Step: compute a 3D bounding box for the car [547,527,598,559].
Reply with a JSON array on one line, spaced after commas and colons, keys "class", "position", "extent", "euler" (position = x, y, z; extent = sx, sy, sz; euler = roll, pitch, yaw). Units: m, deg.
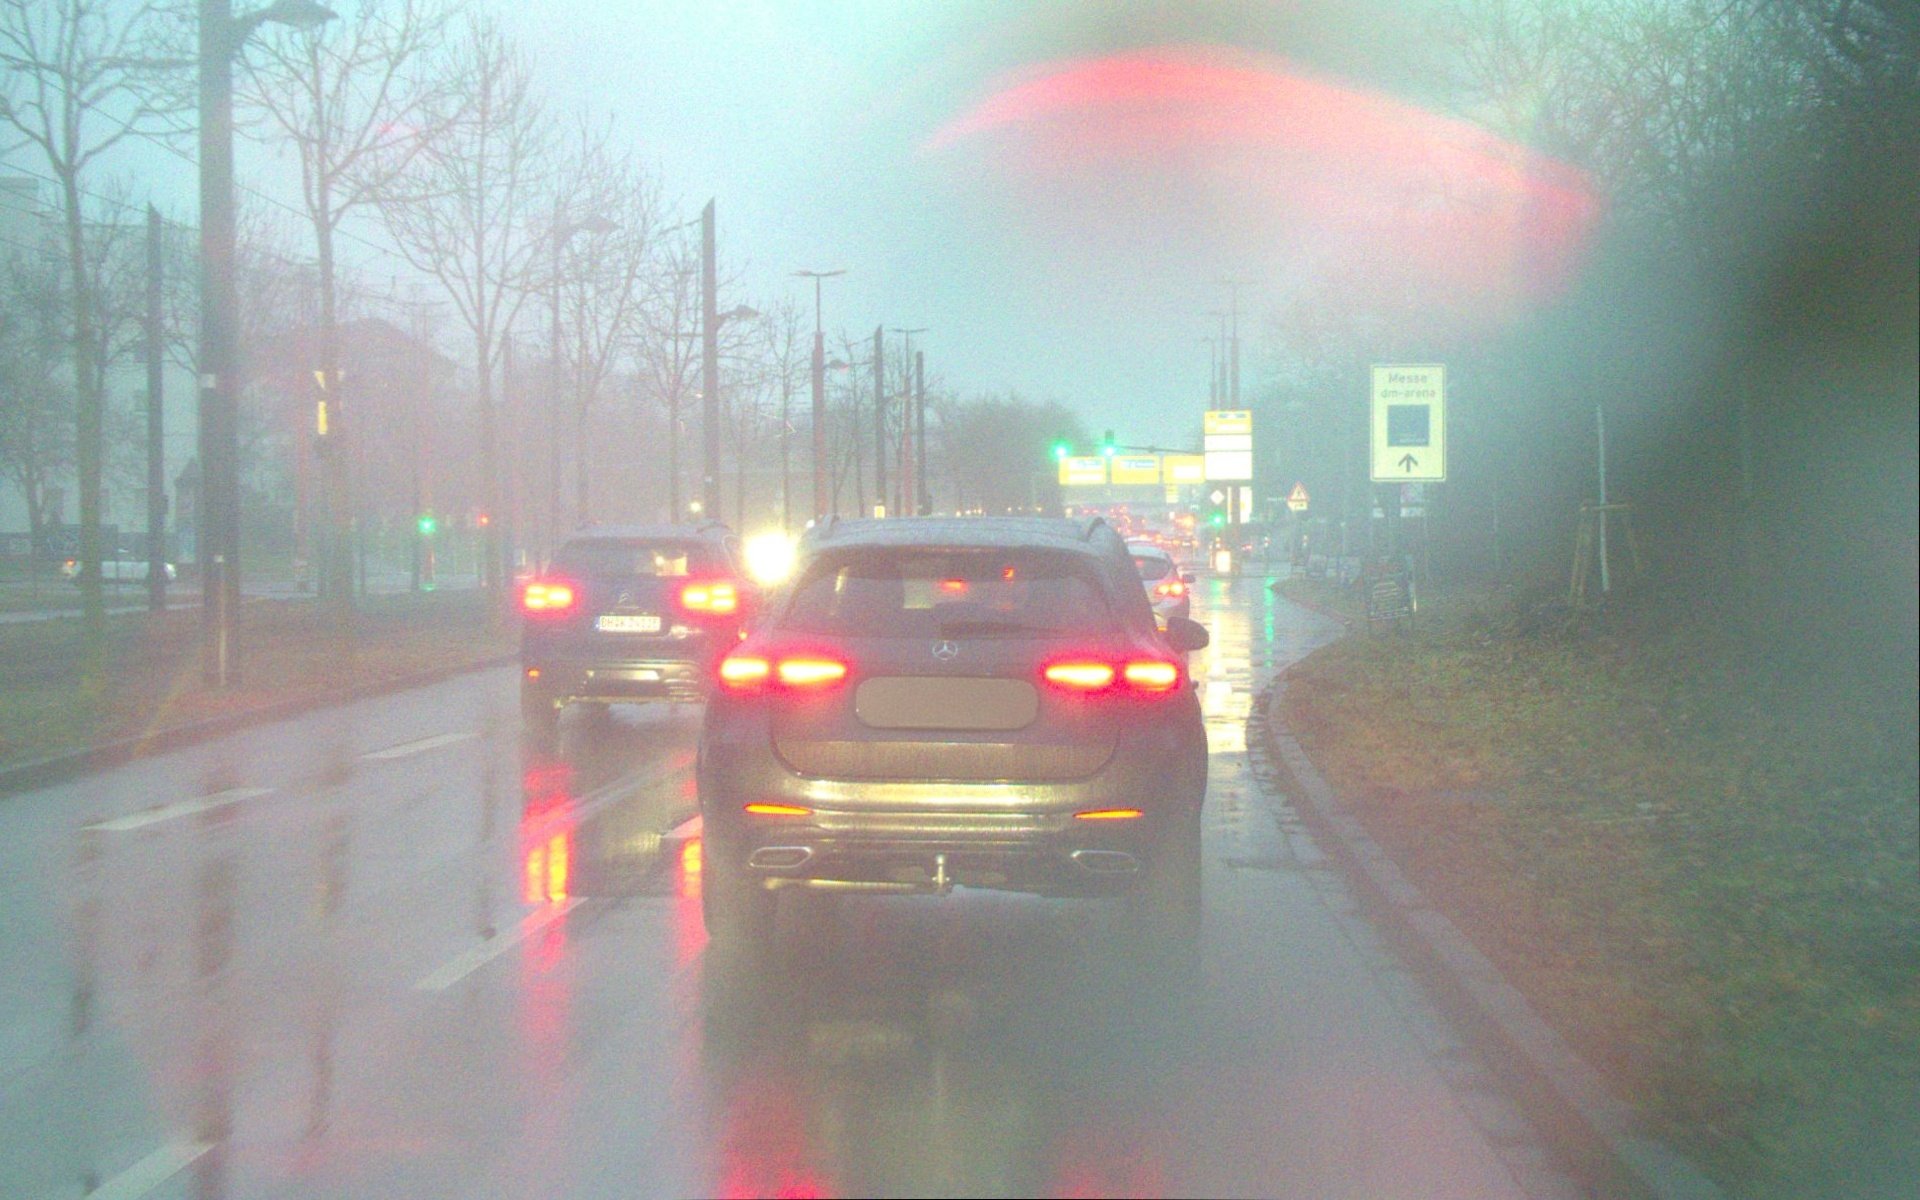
[{"class": "car", "position": [-20.422, -2.991, 181.329], "extent": [1.994, 1.652, 4.000], "euler": [1, 0, 3]}]

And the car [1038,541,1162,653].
[{"class": "car", "position": [1.999, -0.080, 49.819], "extent": [1.708, 1.552, 3.996], "euler": [0, 1, 2]}]

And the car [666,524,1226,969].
[{"class": "car", "position": [-0.013, 0.483, 14.327], "extent": [1.998, 1.578, 4.000], "euler": [0, 1, 1]}]

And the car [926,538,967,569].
[{"class": "car", "position": [-0.725, -2.580, 189.478], "extent": [1.994, 1.660, 3.836], "euler": [0, 1, 3]}]

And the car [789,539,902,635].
[{"class": "car", "position": [-1.902, -0.240, 58.042], "extent": [1.708, 1.552, 3.996], "euler": [0, 1, 1]}]

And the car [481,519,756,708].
[{"class": "car", "position": [-2.774, 0.057, 28.743], "extent": [1.880, 1.454, 4.000], "euler": [0, 1, 0]}]
